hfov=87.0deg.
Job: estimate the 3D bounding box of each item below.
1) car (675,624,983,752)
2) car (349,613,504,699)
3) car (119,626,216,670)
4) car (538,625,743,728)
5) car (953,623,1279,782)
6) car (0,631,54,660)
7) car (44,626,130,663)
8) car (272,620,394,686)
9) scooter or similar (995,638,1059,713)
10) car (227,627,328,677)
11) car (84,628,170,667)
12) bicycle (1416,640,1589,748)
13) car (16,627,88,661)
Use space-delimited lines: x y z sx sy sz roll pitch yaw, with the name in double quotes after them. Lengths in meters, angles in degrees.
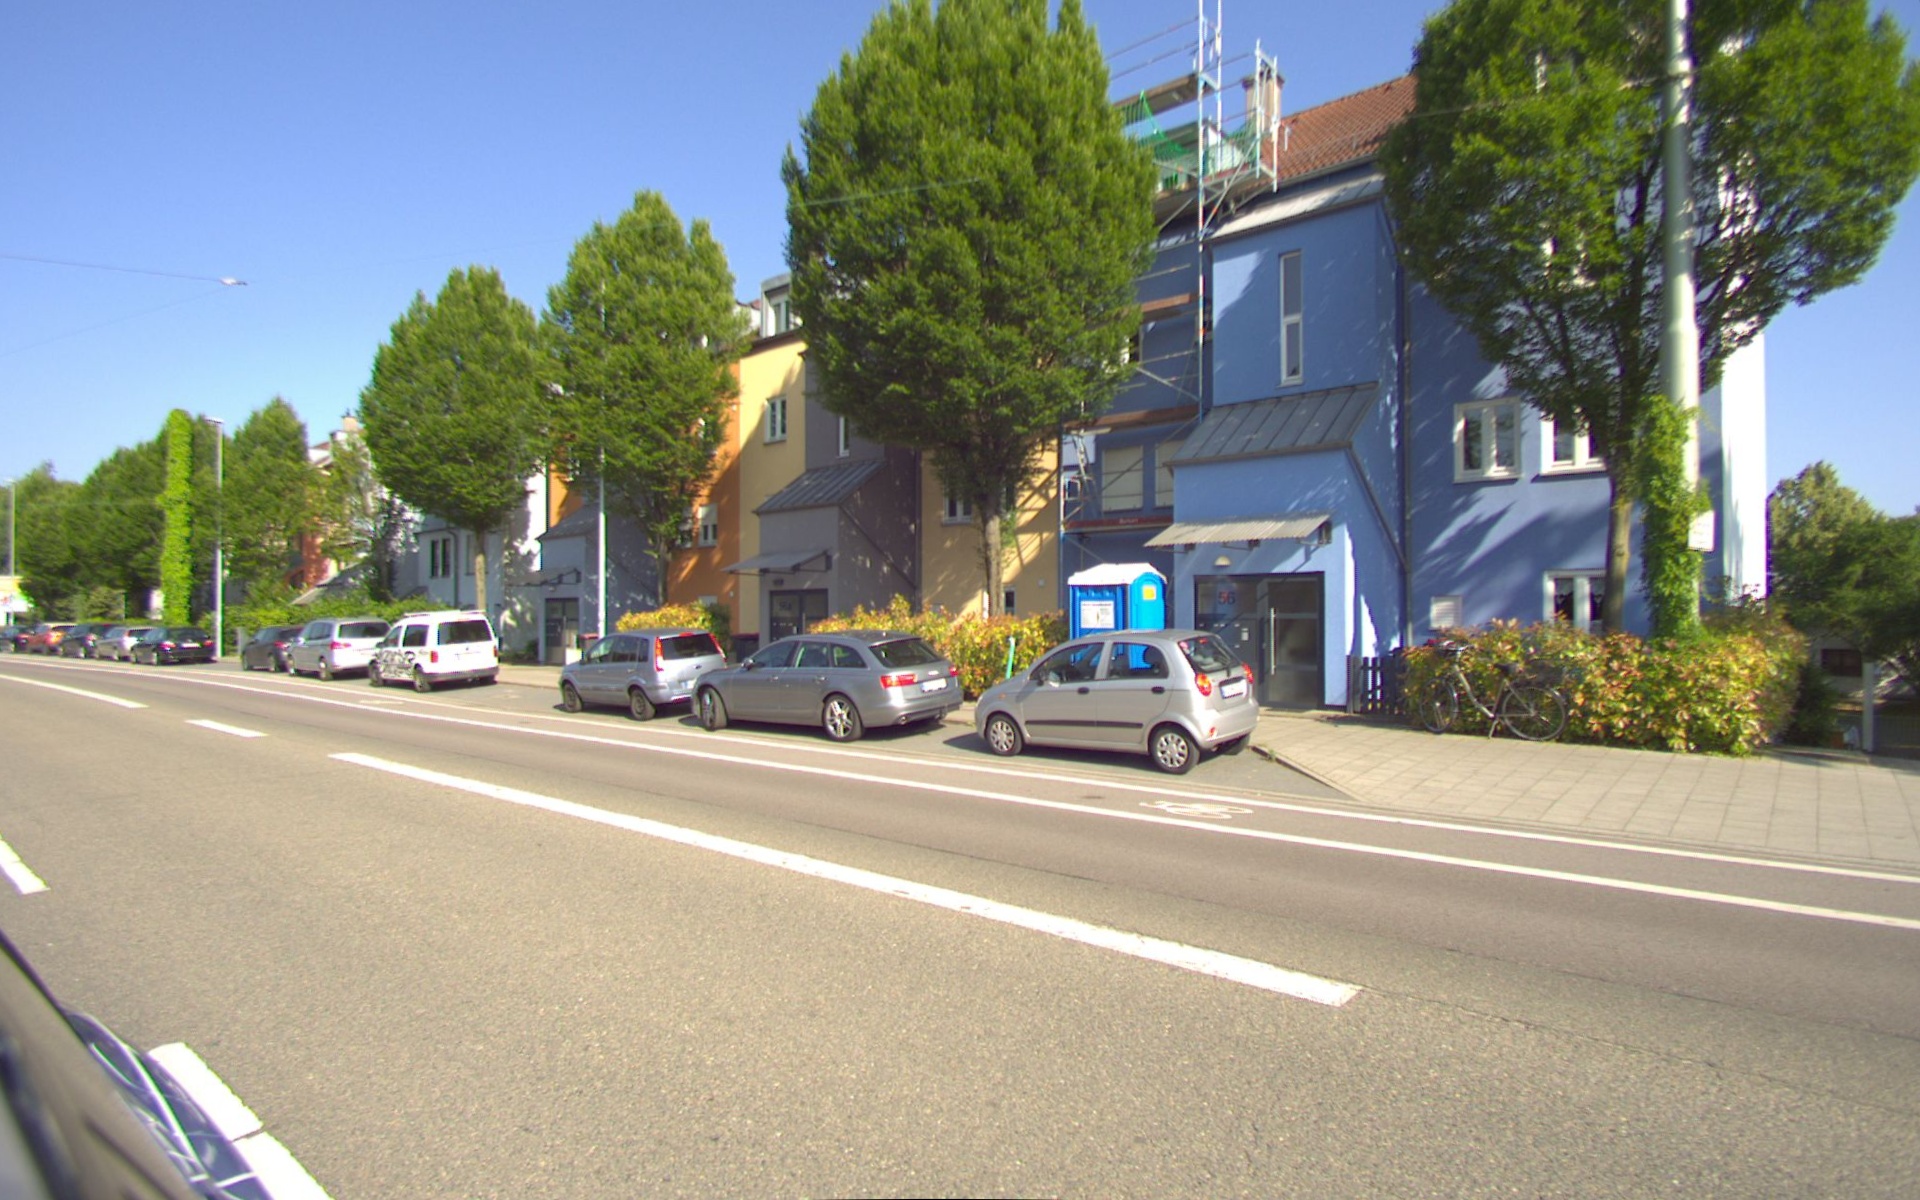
-2.091 1.202 15.222 4.750 1.522 1.732 -1 2 39 "car"
-13.484 1.336 25.464 4.576 1.859 1.746 -1 3 40 "car"
-31.231 1.860 39.833 4.902 1.556 1.849 -1 0 38 "car"
-5.956 1.312 18.657 3.979 1.550 1.745 -1 3 42 "car"
1.781 1.093 12.106 3.507 1.506 1.585 -1 3 41 "car"
-49.398 2.361 53.133 4.700 1.435 1.638 -1 -2 34 "car"
-40.262 2.005 46.662 4.421 1.586 1.750 -1 0 31 "car"
-18.262 1.485 29.375 4.821 1.713 1.651 -1 0 41 "car"
1.080 1.209 16.402 1.041 1.162 0.291 -1 -2 37 "scooter or similar"
-22.294 1.638 33.013 4.053 1.477 1.600 -1 0 39 "car"
-35.891 2.012 43.566 4.834 1.482 1.697 0 1 36 "car"
6.442 1.077 12.098 0.438 1.163 1.787 1 -1 -42 "bicycle"
-44.998 2.141 50.140 4.151 1.586 1.748 0 -1 34 "car"
